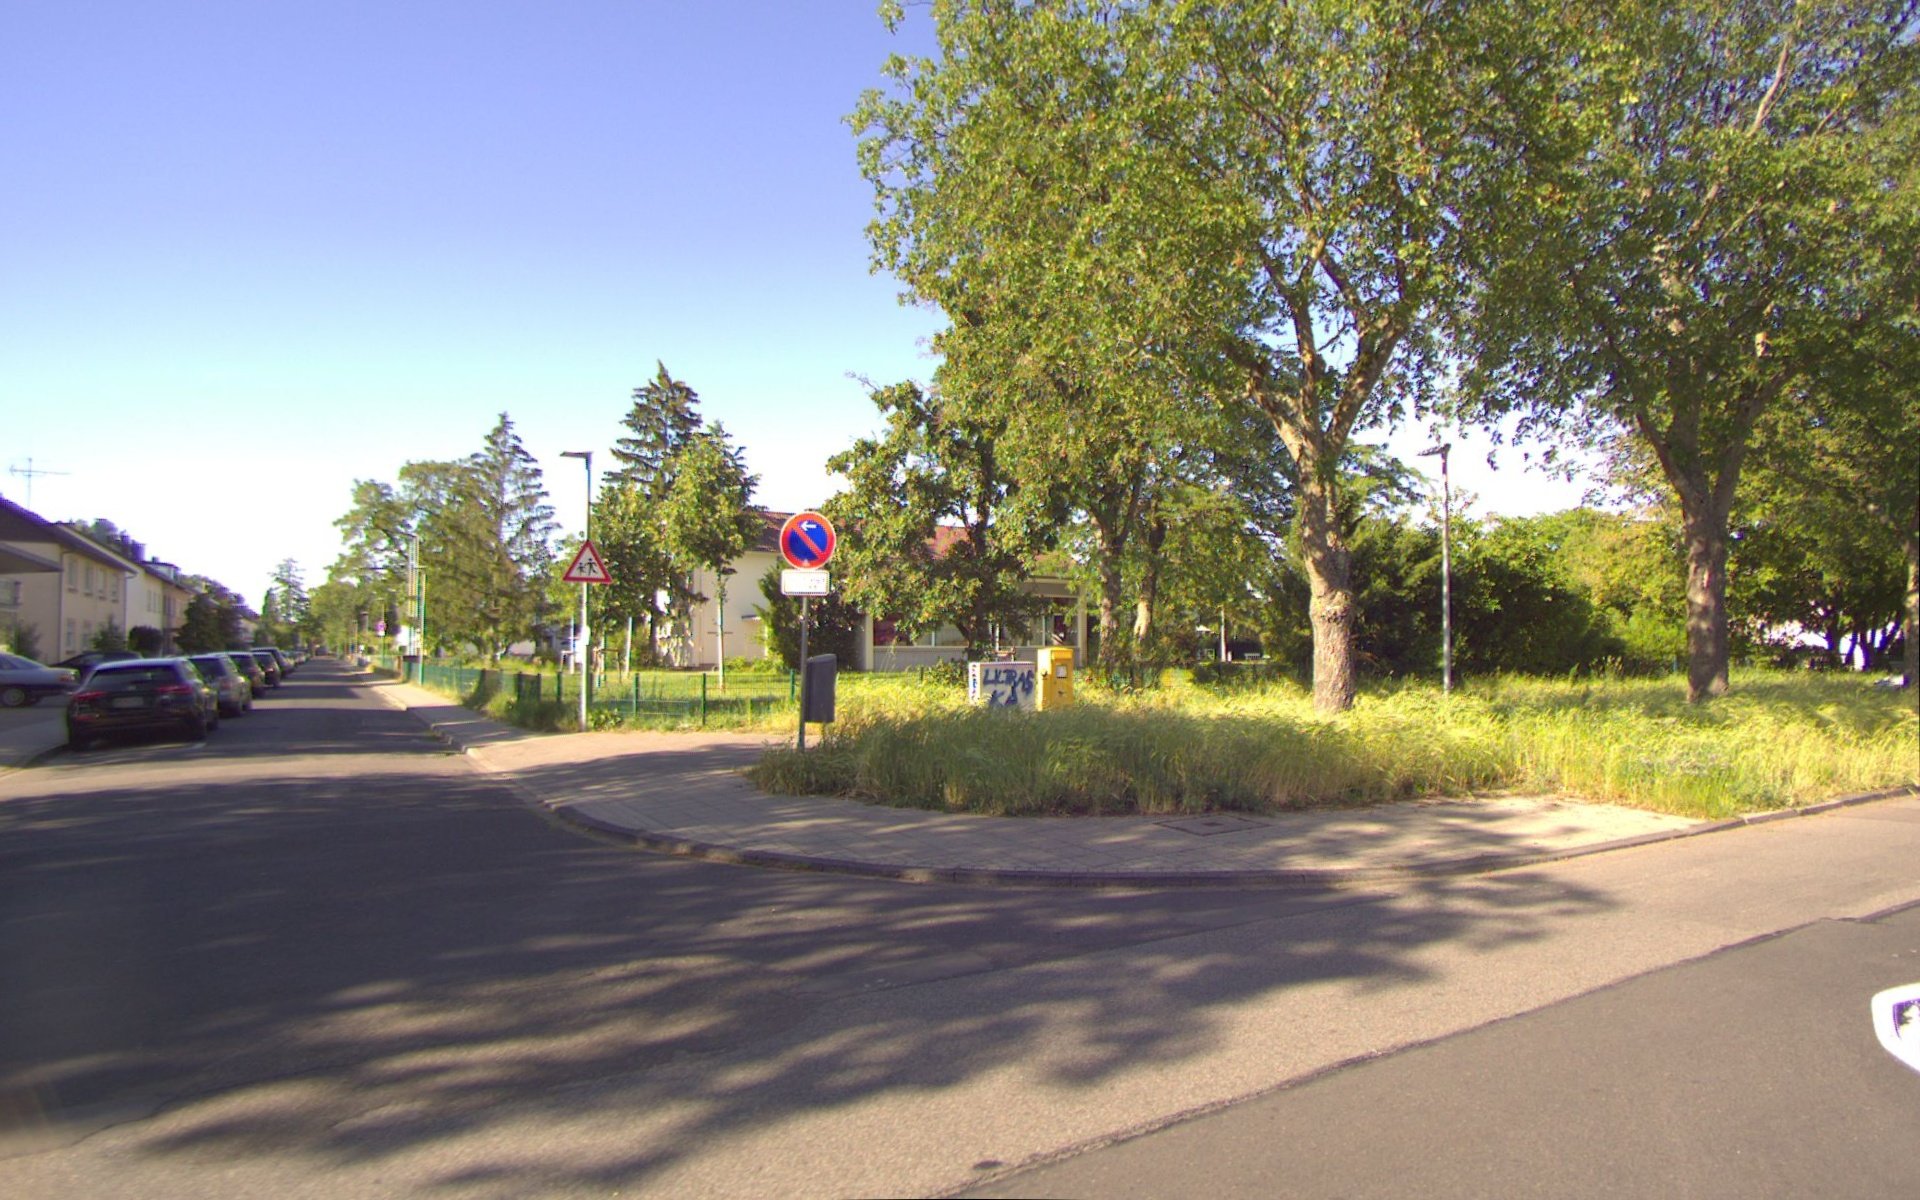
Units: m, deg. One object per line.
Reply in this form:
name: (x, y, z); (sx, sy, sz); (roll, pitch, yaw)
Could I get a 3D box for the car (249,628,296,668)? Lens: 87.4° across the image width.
car: (-38.317, 2.664, 56.063); (1.978, 1.973, 3.964); (2, 0, -32)

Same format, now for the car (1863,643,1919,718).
car: (21.058, 1.629, 19.673); (1.975, 1.523, 4.653); (2, -2, -28)

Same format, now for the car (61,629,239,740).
car: (-14.264, 1.398, 17.928); (1.801, 1.737, 3.969); (1, -2, -30)

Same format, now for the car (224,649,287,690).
car: (-28.657, 2.808, 40.956); (1.799, 1.560, 3.836); (2, -3, -31)

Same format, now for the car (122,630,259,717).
car: (-17.926, 1.648, 23.598); (1.976, 1.844, 3.969); (2, -2, -30)

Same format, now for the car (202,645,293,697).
car: (-23.193, 2.270, 32.852); (1.976, 1.560, 3.970); (1, -3, -29)

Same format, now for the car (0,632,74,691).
car: (-25.873, 1.597, 26.319); (3.719, 1.539, 1.788); (2, -2, -33)
